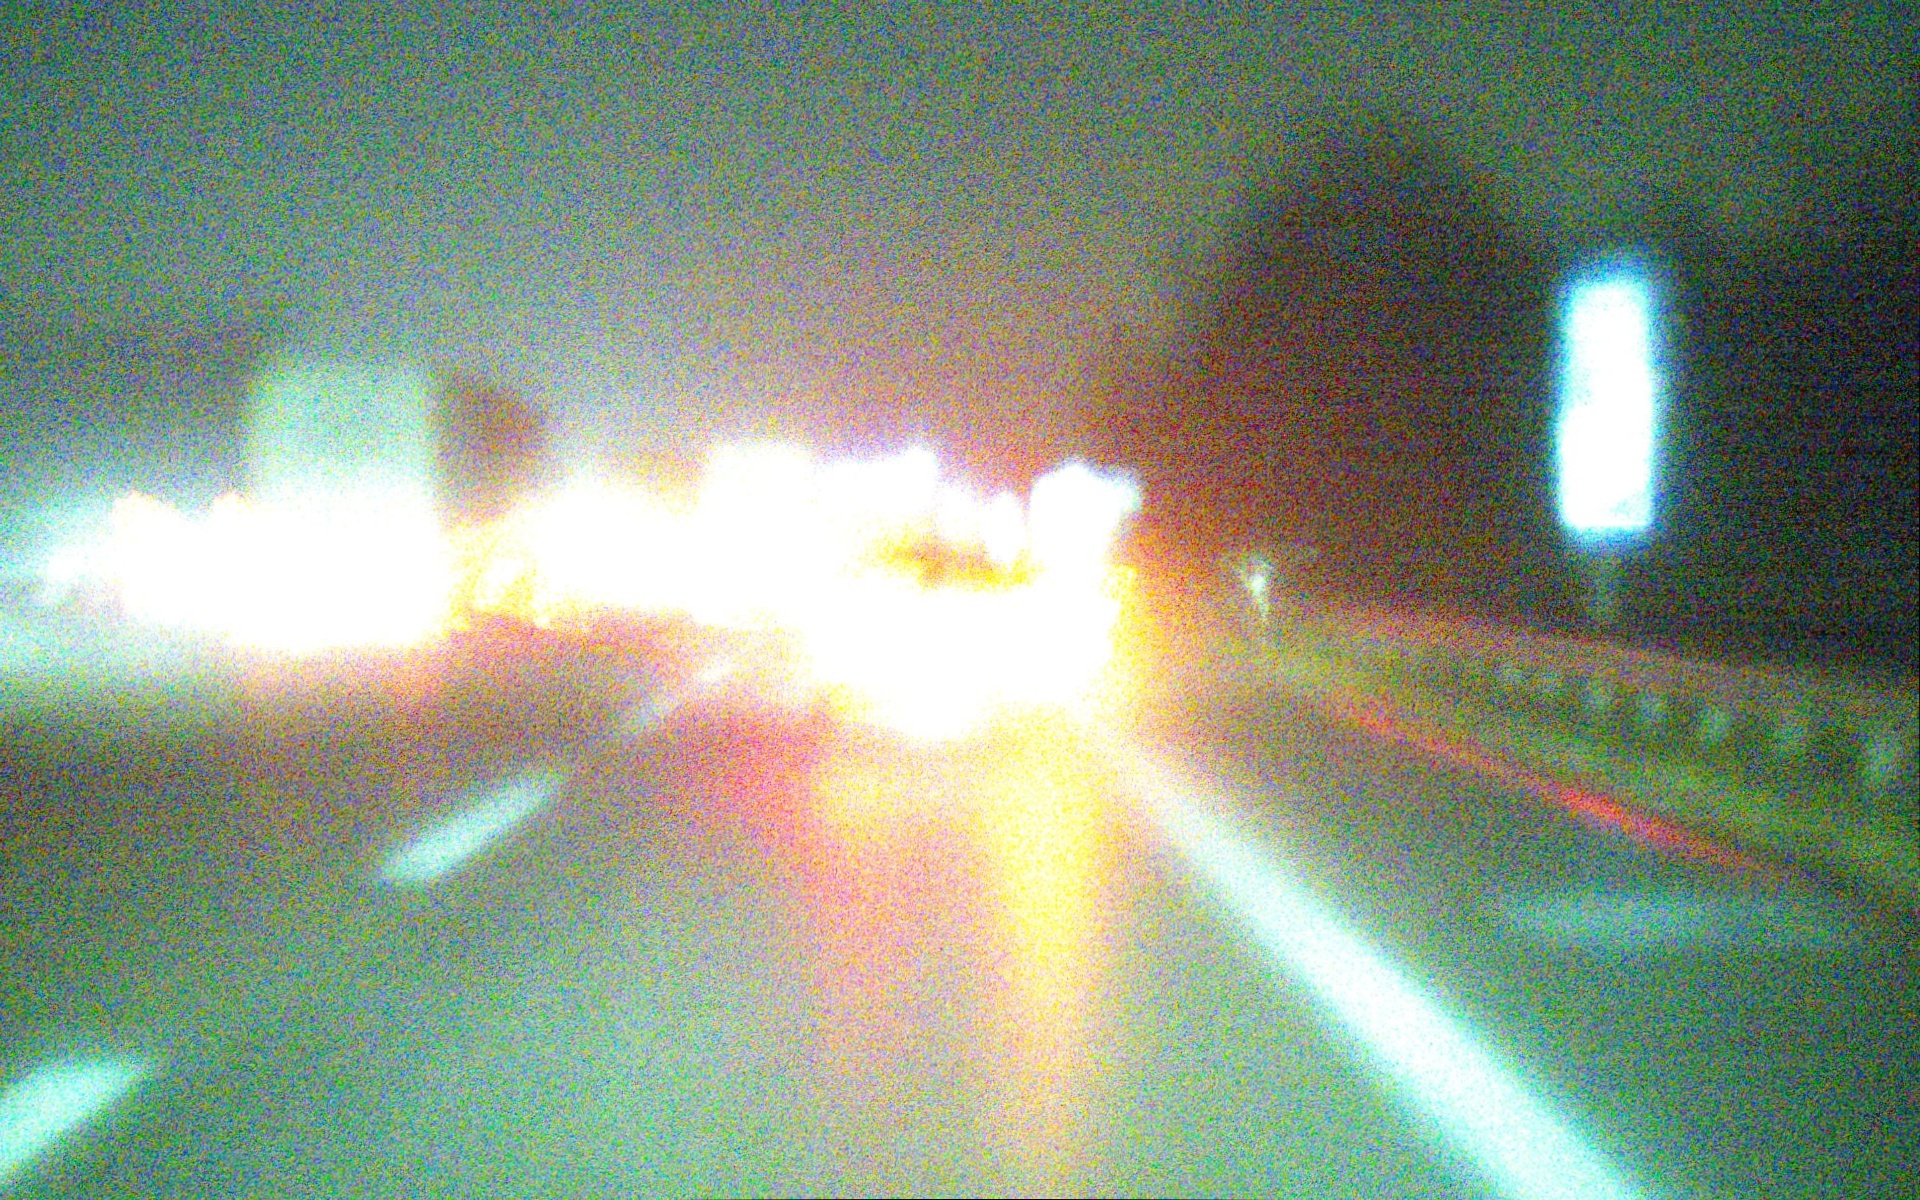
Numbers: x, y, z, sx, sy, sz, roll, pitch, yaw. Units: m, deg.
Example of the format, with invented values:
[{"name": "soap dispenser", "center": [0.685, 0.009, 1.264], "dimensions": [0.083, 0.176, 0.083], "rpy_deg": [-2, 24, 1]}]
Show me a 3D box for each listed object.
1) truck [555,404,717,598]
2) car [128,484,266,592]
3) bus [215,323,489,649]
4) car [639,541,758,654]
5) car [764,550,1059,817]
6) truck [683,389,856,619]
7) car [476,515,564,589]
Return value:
[{"name": "truck", "center": [-9.900, -2.966, 106.418], "dimensions": [4.210, 5.629, 11.468], "rpy_deg": [1, 1, -2]}, {"name": "car", "center": [-13.228, -1.061, 59.805], "dimensions": [1.993, 1.788, 4.001], "rpy_deg": [1, 1, -8]}, {"name": "bus", "center": [-9.207, -1.640, 53.296], "dimensions": [3.096, 4.492, 10.915], "rpy_deg": [1, 1, -5]}, {"name": "car", "center": [-4.859, -0.073, 64.332], "dimensions": [2.125, 2.007, 4.646], "rpy_deg": [1, 1, -3]}, {"name": "car", "center": [-0.375, 0.550, 25.532], "dimensions": [1.993, 1.801, 4.000], "rpy_deg": [1, 1, -1]}, {"name": "truck", "center": [-4.906, -2.434, 90.901], "dimensions": [4.210, 5.629, 11.468], "rpy_deg": [1, 1, -2]}, {"name": "car", "center": [-11.123, -1.202, 87.102], "dimensions": [1.993, 1.801, 4.001], "rpy_deg": [1, 1, -4]}]
